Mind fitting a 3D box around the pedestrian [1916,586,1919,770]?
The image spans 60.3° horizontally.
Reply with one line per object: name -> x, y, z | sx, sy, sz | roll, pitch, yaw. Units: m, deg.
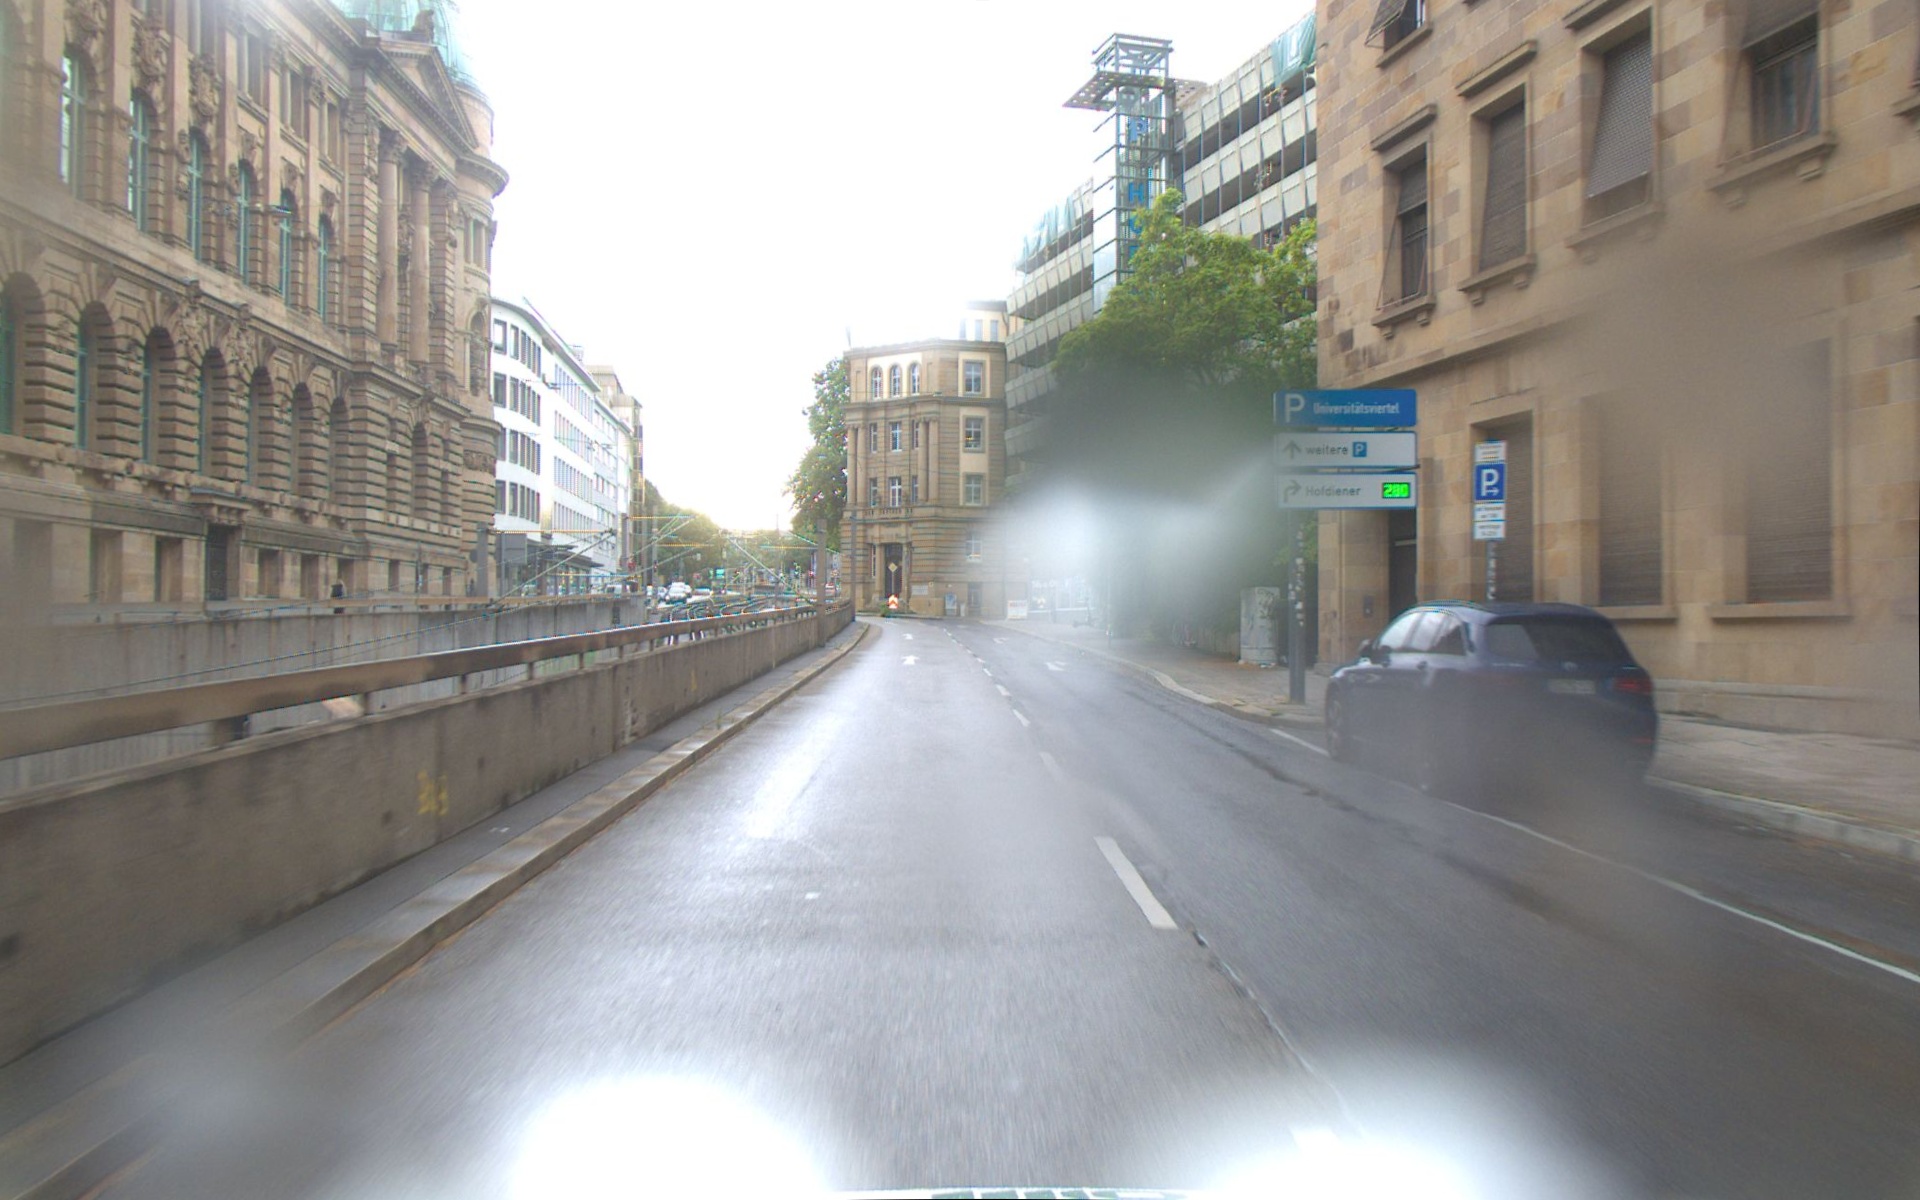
pedestrian -> 8.183, 0.641, 13.348 | 0.514, 1.518, 0.673 | 0, 0, -6

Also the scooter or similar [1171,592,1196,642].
scooter or similar -> 5.906, 0.447, 43.737 | 0.438, 1.281, 1.211 | -2, 1, -2

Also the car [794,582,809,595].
car -> -20.950, -1.473, 218.267 | 1.955, 1.691, 3.994 | 1, 0, -7

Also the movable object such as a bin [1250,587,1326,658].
movable object such as a bin -> 6.555, 0.440, 33.114 | 1.214, 1.333, 1.233 | -2, 0, -1

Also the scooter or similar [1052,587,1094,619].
scooter or similar -> 4.753, 0.140, 69.750 | 1.616, 1.290, 0.736 | -2, 1, -27

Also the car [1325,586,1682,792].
car -> 4.830, 0.724, 15.356 | 1.733, 1.647, 4.154 | 0, 0, -4

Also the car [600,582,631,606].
car -> -27.593, -0.497, 132.483 | 1.955, 1.916, 4.920 | 1, 0, -7

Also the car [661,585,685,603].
car -> -26.069, -0.580, 150.342 | 1.955, 1.554, 3.657 | 1, 0, -7

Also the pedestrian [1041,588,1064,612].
pedestrian -> 4.478, 0.009, 80.353 | 0.740, 1.142, 1.242 | 1, 0, -16

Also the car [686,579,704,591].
car -> -31.388, -1.769, 195.780 | 1.955, 1.482, 4.305 | 1, 0, -7
